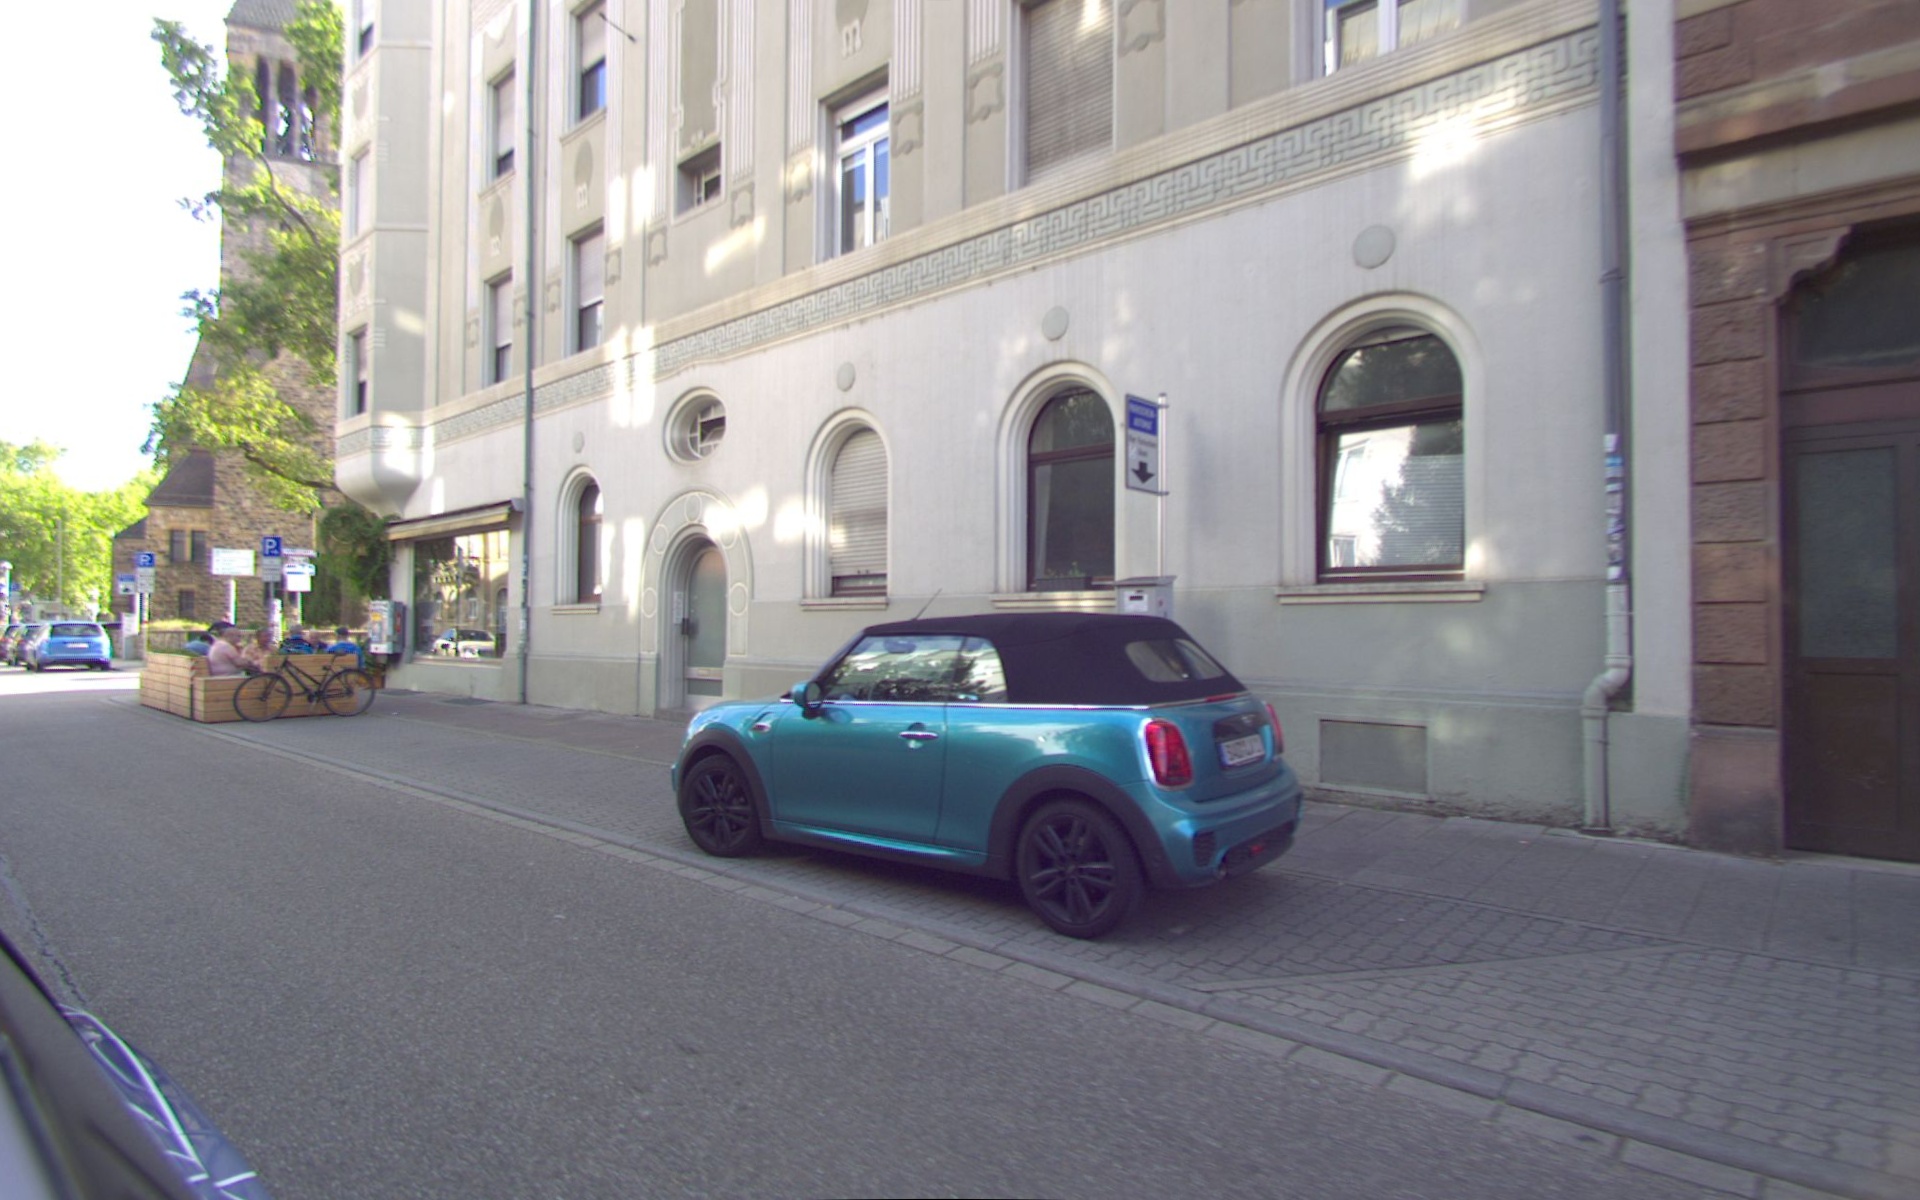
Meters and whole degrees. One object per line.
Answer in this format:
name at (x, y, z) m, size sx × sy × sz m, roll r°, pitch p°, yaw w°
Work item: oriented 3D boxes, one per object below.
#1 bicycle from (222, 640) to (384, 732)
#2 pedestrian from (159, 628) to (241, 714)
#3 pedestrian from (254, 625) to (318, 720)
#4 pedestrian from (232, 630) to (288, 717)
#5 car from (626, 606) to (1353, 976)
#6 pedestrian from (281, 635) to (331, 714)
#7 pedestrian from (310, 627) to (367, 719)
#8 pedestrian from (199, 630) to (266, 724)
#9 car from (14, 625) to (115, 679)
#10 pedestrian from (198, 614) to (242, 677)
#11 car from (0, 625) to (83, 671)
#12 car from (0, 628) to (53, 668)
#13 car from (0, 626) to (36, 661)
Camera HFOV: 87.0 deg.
bicycle at (-9.426, 1.194, 14.575) m, size 0.688 × 1.184 × 1.847 m, roll -2°, pitch -1°, yaw 43°
pedestrian at (-12.872, 1.176, 17.147) m, size 1.073 × 1.383 × 0.896 m, roll 0°, pitch -1°, yaw -40°
pedestrian at (-10.222, 1.076, 15.345) m, size 0.680 × 1.383 × 0.740 m, roll 0°, pitch -1°, yaw -45°
pedestrian at (-11.246, 1.157, 16.261) m, size 0.658 × 1.346 × 0.740 m, roll 0°, pitch -1°, yaw -41°
car at (-0.050, 0.780, 5.827) m, size 4.007 × 1.426 × 1.653 m, roll -1°, pitch -1°, yaw 39°
pedestrian at (-10.760, 1.211, 16.646) m, size 0.589 × 1.253 × 0.694 m, roll 0°, pitch -1°, yaw -41°
pedestrian at (-9.696, 1.120, 15.781) m, size 0.628 × 1.383 × 0.684 m, roll 0°, pitch -1°, yaw -45°
pedestrian at (-11.010, 1.141, 15.326) m, size 0.644 × 1.359 × 0.729 m, roll -2°, pitch -1°, yaw 44°
car at (-26.985, 1.519, 30.457) m, size 4.169 × 1.497 × 1.804 m, roll -2°, pitch -1°, yaw 42°
pedestrian at (-20.705, 1.264, 28.318) m, size 0.879 × 1.722 × 0.834 m, roll -2°, pitch -1°, yaw 42°
car at (-31.505, 1.600, 34.544) m, size 3.999 × 1.431 × 1.886 m, roll -2°, pitch -1°, yaw 42°
car at (-36.172, 1.797, 38.651) m, size 3.999 × 1.431 × 1.886 m, roll -2°, pitch -1°, yaw 42°
car at (-41.307, 1.872, 43.543) m, size 3.999 × 1.431 × 1.886 m, roll -2°, pitch -1°, yaw 42°
